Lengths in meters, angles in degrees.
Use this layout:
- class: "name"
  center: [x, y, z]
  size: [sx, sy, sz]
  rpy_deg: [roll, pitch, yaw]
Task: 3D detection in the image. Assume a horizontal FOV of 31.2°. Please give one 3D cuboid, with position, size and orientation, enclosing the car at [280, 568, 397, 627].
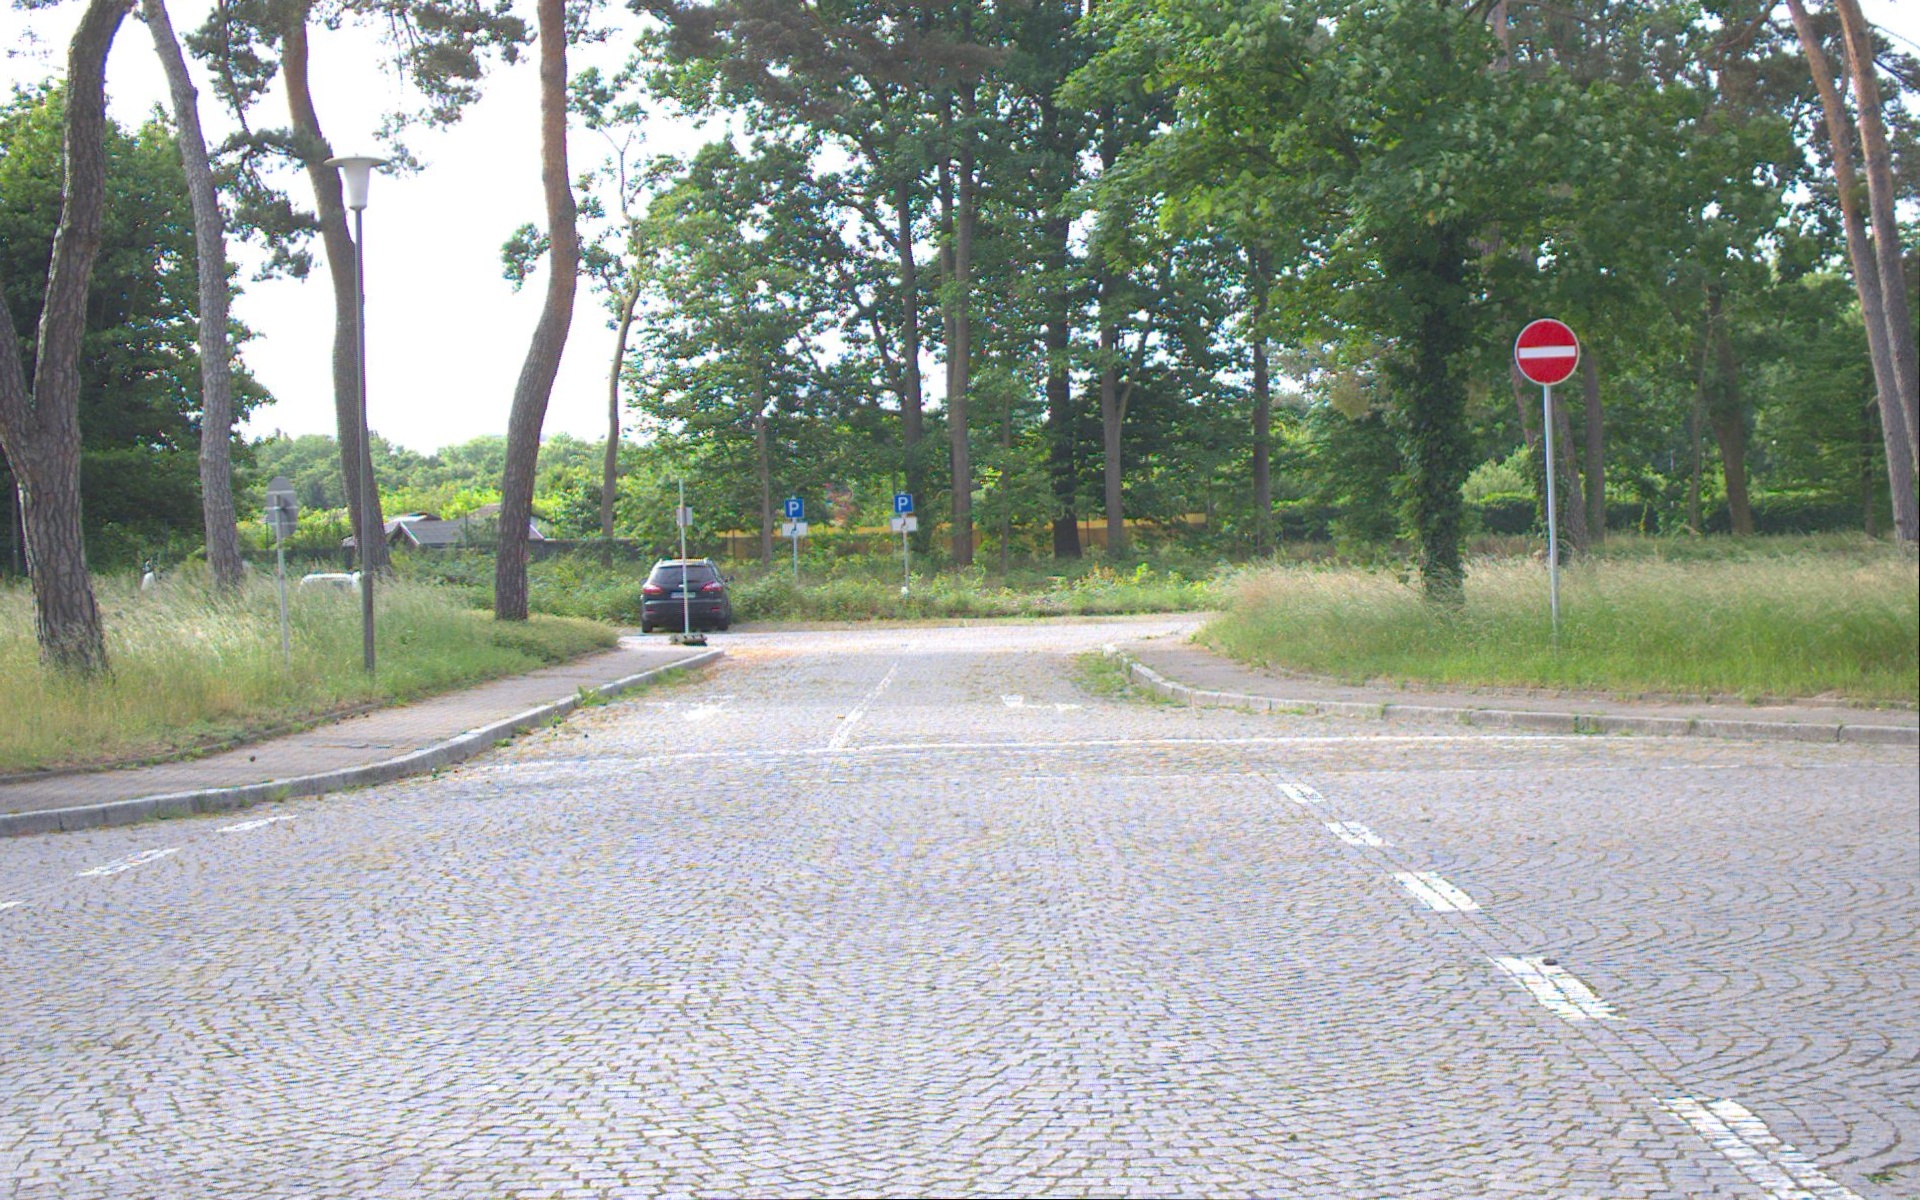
- class: "car"
  center: [-13.434, -0.072, 74.541]
  size: [1.689, 1.152, 4.000]
  rpy_deg: [-2, 1, 1]

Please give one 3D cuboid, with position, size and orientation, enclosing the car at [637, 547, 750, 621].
- class: "car"
  center: [-5.655, -0.363, 73.350]
  size: [1.993, 1.503, 4.000]
  rpy_deg: [0, 1, 1]

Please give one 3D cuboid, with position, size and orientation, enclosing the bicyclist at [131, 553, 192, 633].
- class: "bicyclist"
  center: [-15.296, -0.140, 65.866]
  size: [0.974, 1.505, 0.807]
  rpy_deg: [-2, 1, -3]
